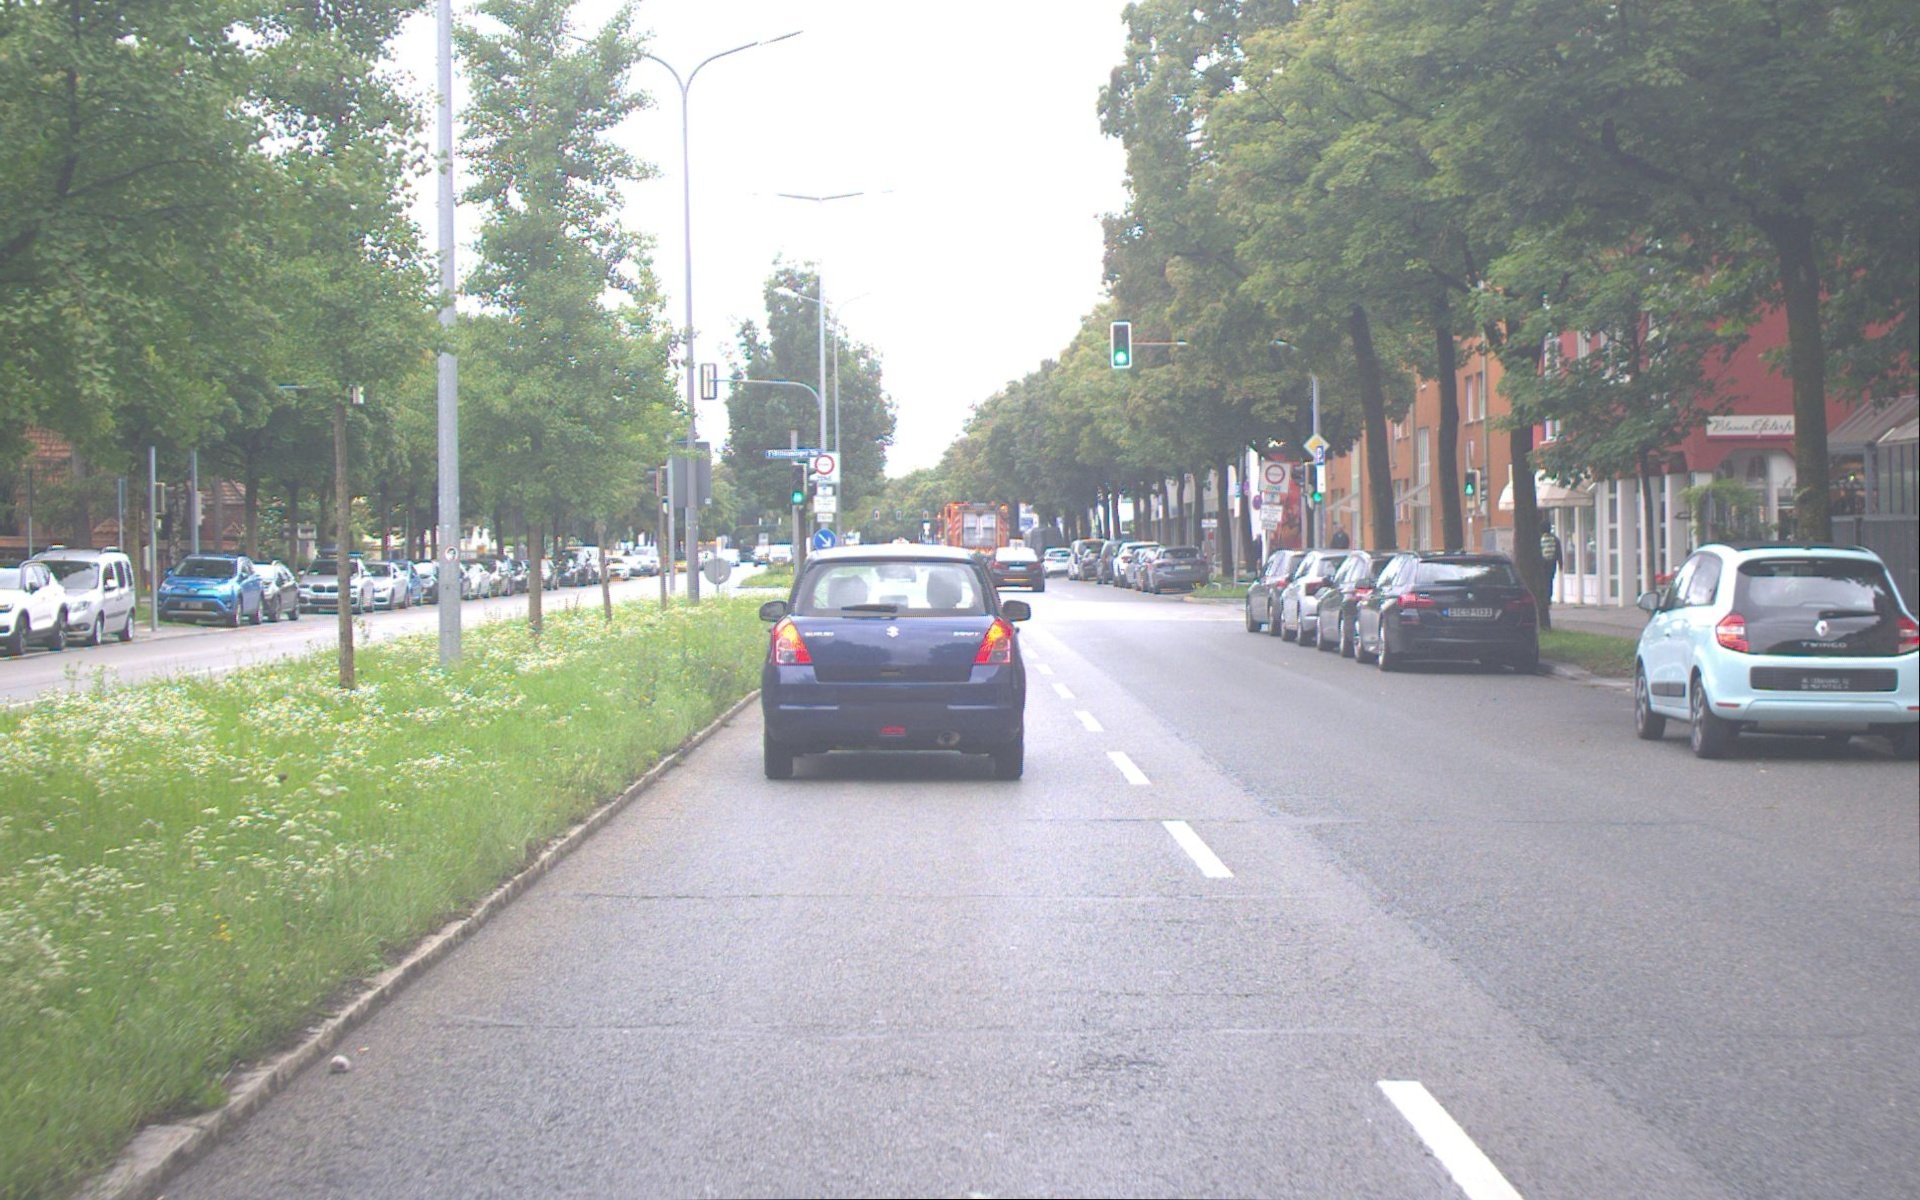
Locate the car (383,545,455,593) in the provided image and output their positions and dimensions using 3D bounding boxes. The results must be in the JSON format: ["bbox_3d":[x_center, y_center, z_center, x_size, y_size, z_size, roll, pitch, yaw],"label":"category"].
[{"bbox_3d":[-17.871,-1.032,113.733,1.801,1.529,4.000,0,1,0],"label":"car"}]

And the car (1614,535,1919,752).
[{"bbox_3d":[6.071,0.267,25.866,1.653,1.447,4.000,-1,1,2],"label":"car"}]

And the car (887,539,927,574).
[{"bbox_3d":[-2.327,-1.900,150.534,1.718,1.495,4.301,0,1,-1],"label":"car"}]

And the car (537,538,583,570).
[{"bbox_3d":[-19.474,-2.241,167.391,1.801,1.529,4.000,-1,1,0],"label":"car"}]

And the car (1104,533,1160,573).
[{"bbox_3d":[6.848,-1.880,137.367,1.993,1.525,4.000,-1,1,0],"label":"car"}]

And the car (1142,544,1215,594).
[{"bbox_3d":[6.874,-0.992,108.463,1.993,1.525,4.000,-1,1,0],"label":"car"}]

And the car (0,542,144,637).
[{"bbox_3d":[-16.951,-0.228,65.794,1.706,1.728,4.000,-1,1,0],"label":"car"}]

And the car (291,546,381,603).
[{"bbox_3d":[-17.572,-0.741,96.915,1.801,1.529,4.000,-1,1,0],"label":"car"}]

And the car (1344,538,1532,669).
[{"bbox_3d":[5.844,-0.004,42.501,1.653,1.447,4.708,-2,1,0],"label":"car"}]

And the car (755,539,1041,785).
[{"bbox_3d":[-0.367,0.348,23.252,1.753,1.499,4.000,0,1,0],"label":"car"}]

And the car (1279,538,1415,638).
[{"bbox_3d":[5.894,-0.218,52.701,1.695,1.447,4.123,-1,1,1],"label":"car"}]

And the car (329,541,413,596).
[{"bbox_3d":[-17.330,-0.942,101.311,1.801,1.529,4.000,-1,1,0],"label":"car"}]

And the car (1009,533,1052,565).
[{"bbox_3d":[3.529,-2.570,172.268,1.993,1.525,4.000,-1,1,0],"label":"car"}]

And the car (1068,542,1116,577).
[{"bbox_3d":[5.918,-1.833,154.428,1.993,1.525,4.000,0,1,0],"label":"car"}]

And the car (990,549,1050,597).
[{"bbox_3d":[1.961,-0.907,113.754,1.821,1.472,4.691,1,1,-1],"label":"car"}]

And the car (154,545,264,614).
[{"bbox_3d":[-17.435,-0.493,79.958,1.706,1.529,4.000,-1,1,0],"label":"car"}]

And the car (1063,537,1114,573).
[{"bbox_3d":[5.564,-1.976,149.136,1.993,1.525,4.000,-1,1,0],"label":"car"}]

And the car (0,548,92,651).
[{"bbox_3d":[-16.866,-0.045,60.577,2.185,1.730,4.579,0,1,-3],"label":"car"}]

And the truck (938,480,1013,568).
[{"bbox_3d":[0.682,-3.218,146.085,3.041,3.545,13.675,0,1,0],"label":"truck"}]

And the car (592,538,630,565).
[{"bbox_3d":[-20.191,-2.799,199.178,1.801,1.529,4.000,-1,1,0],"label":"car"}]

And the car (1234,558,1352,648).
[{"bbox_3d":[5.667,0.025,58.822,1.695,1.447,4.123,-1,1,1],"label":"car"}]
